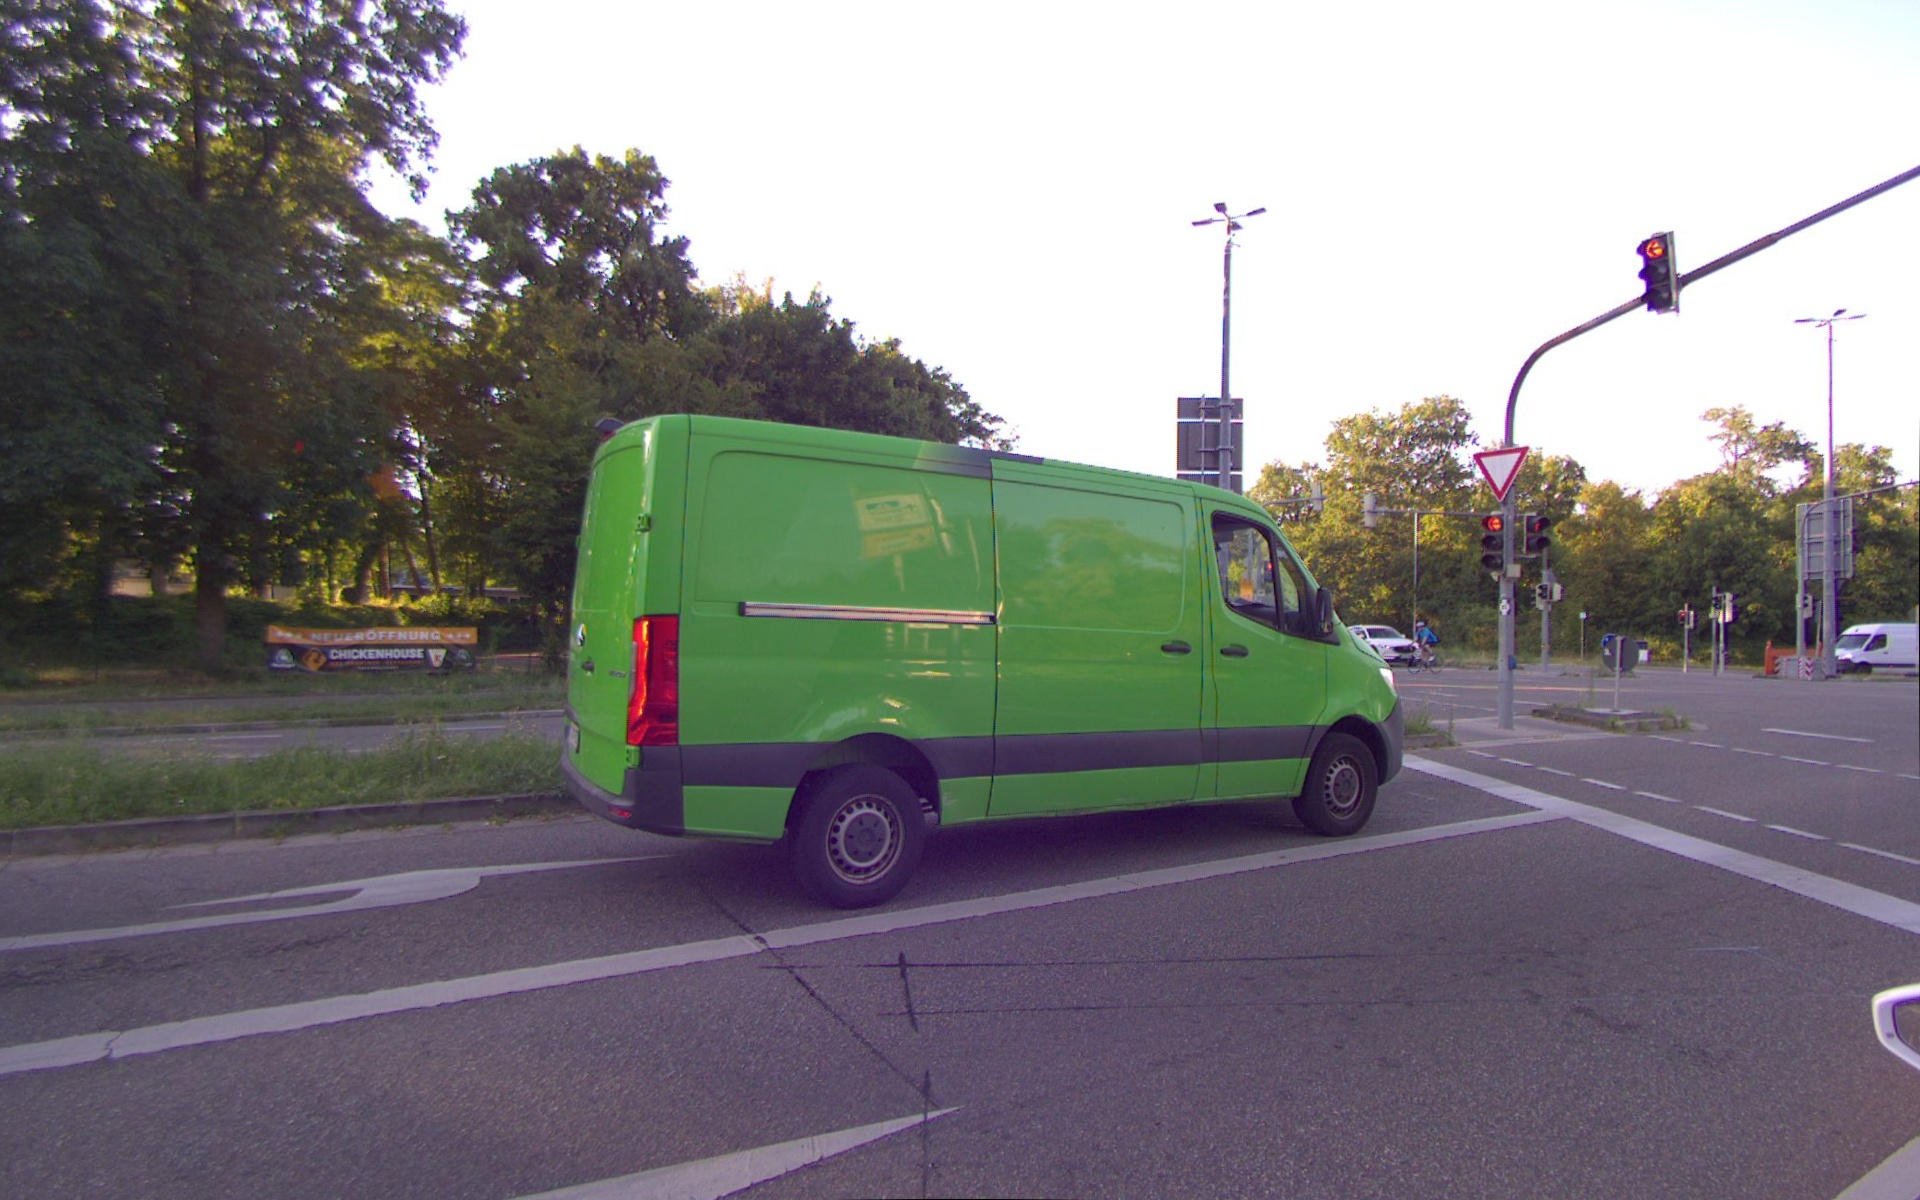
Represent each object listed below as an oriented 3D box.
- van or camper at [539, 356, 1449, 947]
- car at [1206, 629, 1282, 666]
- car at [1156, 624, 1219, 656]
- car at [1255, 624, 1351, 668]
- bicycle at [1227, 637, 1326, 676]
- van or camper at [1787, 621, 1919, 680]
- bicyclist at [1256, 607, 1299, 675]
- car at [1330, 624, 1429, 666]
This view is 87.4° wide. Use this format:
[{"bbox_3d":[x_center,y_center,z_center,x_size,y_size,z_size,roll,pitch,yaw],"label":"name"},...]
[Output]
[{"bbox_3d":[0.540,0.292,6.566,5.830,2.453,1.983,2,-1,-32],"label":"van or camper"},{"bbox_3d":[13.502,2.228,48.047,1.963,1.661,4.252,1,-1,-8],"label":"car"},{"bbox_3d":[12.690,2.218,56.200,1.964,1.661,4.250,1,-1,-10],"label":"car"},{"bbox_3d":[13.812,1.815,40.699,1.963,1.661,4.252,1,-1,-8],"label":"car"},{"bbox_3d":[9.006,1.599,28.599,2.599,1.044,0.768,1,-1,-5],"label":"bicycle"},{"bbox_3d":[43.865,2.388,47.654,6.983,2.687,2.894,1,-1,-2],"label":"van or camper"},{"bbox_3d":[9.045,1.165,28.638,0.962,1.904,0.676,1,-1,-8],"label":"bicyclist"},{"bbox_3d":[17.499,1.850,42.105,1.963,1.661,4.252,1,-1,-8],"label":"car"}]
